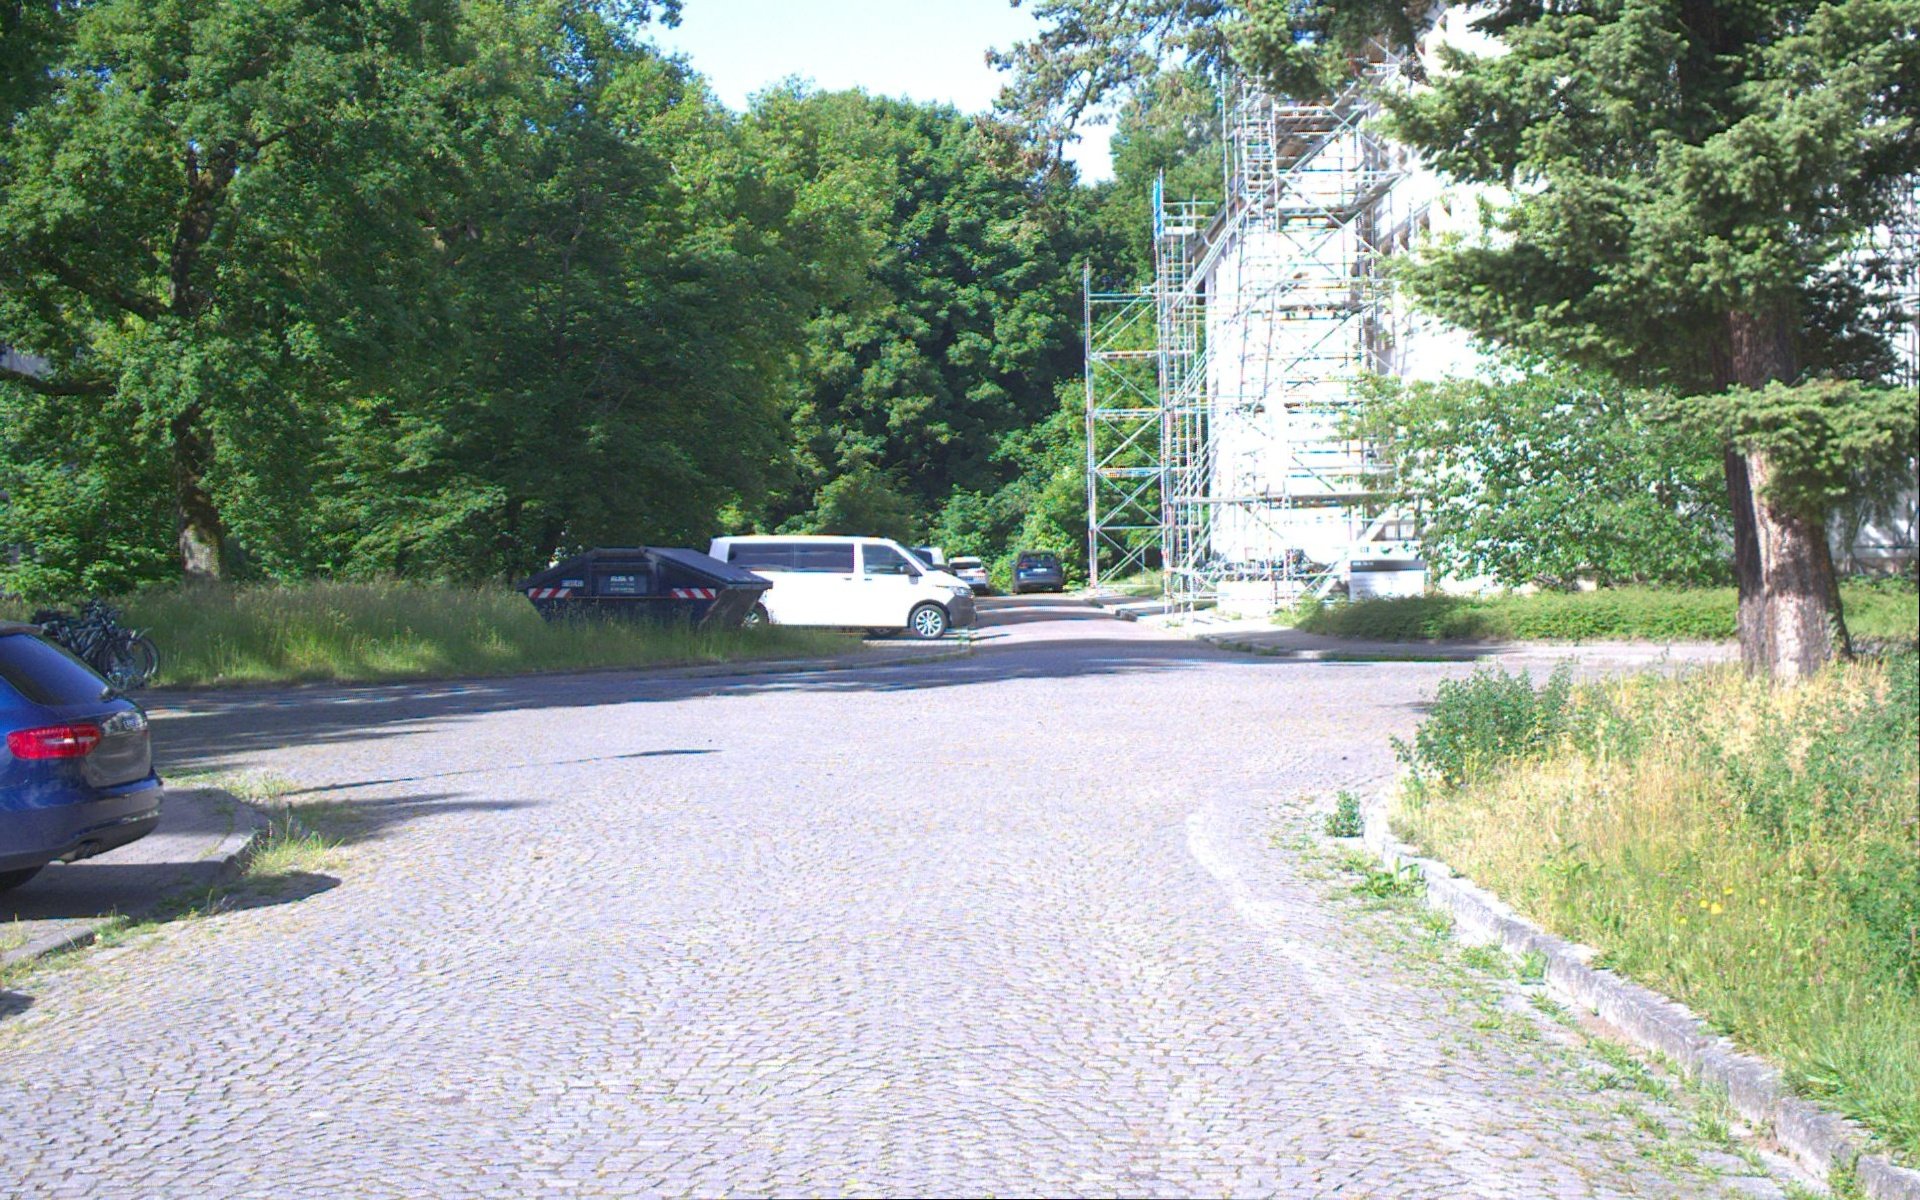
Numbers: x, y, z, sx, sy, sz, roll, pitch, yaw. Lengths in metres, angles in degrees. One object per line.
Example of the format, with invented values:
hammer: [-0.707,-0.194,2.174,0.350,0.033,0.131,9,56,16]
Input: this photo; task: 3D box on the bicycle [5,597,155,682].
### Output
bicycle: [-12.260,0.538,47.922,1.913,1.054,0.476,-4,1,-22]

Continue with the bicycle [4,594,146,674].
bicycle: [-13.002,0.494,50.506,1.912,1.054,0.476,-4,1,-20]

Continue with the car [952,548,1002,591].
car: [0.618,-1.164,131.355,1.812,1.574,4.135,-2,1,0]

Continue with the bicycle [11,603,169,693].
bicycle: [-11.526,0.624,45.573,1.913,1.054,0.476,-4,2,-29]

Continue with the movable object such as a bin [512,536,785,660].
movable object such as a bin: [-4.718,-0.032,52.293,3.569,1.738,2.023,-2,1,19]

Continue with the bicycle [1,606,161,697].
bicycle: [-11.510,0.662,45.018,1.913,1.054,0.476,-4,2,-29]

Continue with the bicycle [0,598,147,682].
bicycle: [-12.566,0.564,48.738,1.912,1.054,0.476,-4,1,-20]

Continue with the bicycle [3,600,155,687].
bicycle: [-12.074,0.589,47.132,1.913,1.054,0.476,-4,1,-22]

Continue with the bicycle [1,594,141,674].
bicycle: [-13.184,0.493,50.974,1.912,1.054,0.476,-4,1,-20]

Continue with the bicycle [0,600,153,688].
bicycle: [-11.965,0.589,46.568,1.913,1.054,0.476,-4,1,-22]

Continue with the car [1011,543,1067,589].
car: [3.020,-1.293,131.634,1.971,1.662,4.086,-2,1,0]

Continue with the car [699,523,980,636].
car: [-2.258,-0.393,65.366,5.234,2.009,1.950,-1,1,0]

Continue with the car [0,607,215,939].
car: [-6.003,0.804,16.524,4.360,1.440,1.921,-1,1,3]
